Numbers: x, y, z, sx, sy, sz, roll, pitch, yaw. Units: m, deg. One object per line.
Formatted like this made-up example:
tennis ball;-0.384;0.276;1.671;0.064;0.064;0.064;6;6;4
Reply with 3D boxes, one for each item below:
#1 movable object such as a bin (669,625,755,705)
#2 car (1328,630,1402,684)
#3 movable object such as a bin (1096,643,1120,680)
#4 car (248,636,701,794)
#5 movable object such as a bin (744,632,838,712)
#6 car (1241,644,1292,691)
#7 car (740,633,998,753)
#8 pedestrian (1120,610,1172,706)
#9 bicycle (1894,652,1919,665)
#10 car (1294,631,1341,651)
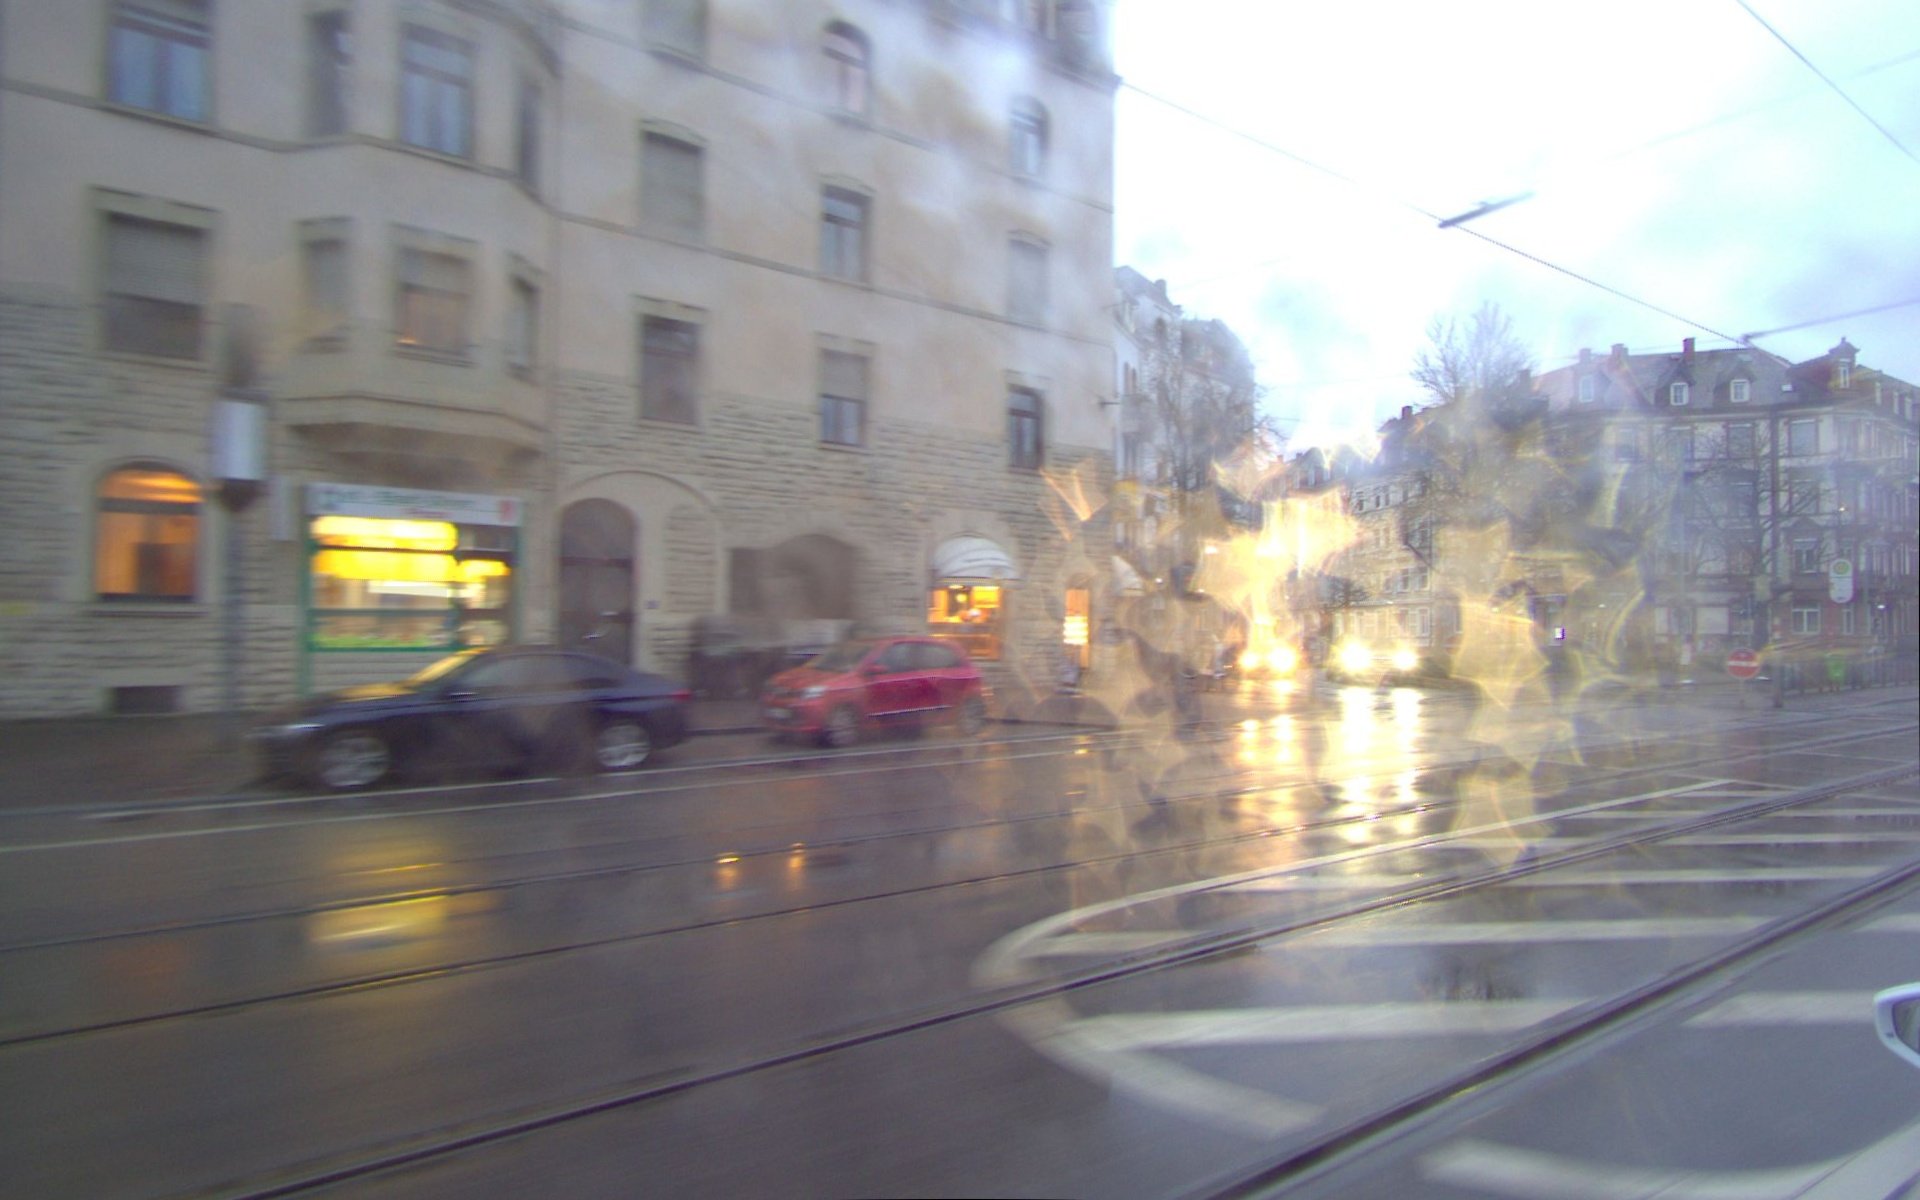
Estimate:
movable object such as a bin;-4.653;1.201;18.836;1.262;1.390;0.994;2;1;-36
car;13.730;1.886;34.256;1.898;1.604;4.345;2;0;17
movable object such as a bin;4.663;1.933;31.596;0.678;1.150;0.649;0;-2;2
car;-5.499;1.179;11.698;4.469;1.409;1.788;2;1;-38
movable object such as a bin;-3.224;1.335;19.124;1.269;1.390;1.340;2;1;-36
car;12.016;2.587;39.208;1.582;1.492;3.825;2;0;21
car;-1.320;1.323;15.394;3.650;1.536;1.657;2;1;-41
pedestrian;3.838;1.185;20.802;0.877;1.903;0.798;2;1;2
bicycle;57.976;3.535;61.141;1.775;0.769;0.401;0;-2;1
car;31.417;3.618;88.295;1.967;1.728;3.988;1;-2;-15
